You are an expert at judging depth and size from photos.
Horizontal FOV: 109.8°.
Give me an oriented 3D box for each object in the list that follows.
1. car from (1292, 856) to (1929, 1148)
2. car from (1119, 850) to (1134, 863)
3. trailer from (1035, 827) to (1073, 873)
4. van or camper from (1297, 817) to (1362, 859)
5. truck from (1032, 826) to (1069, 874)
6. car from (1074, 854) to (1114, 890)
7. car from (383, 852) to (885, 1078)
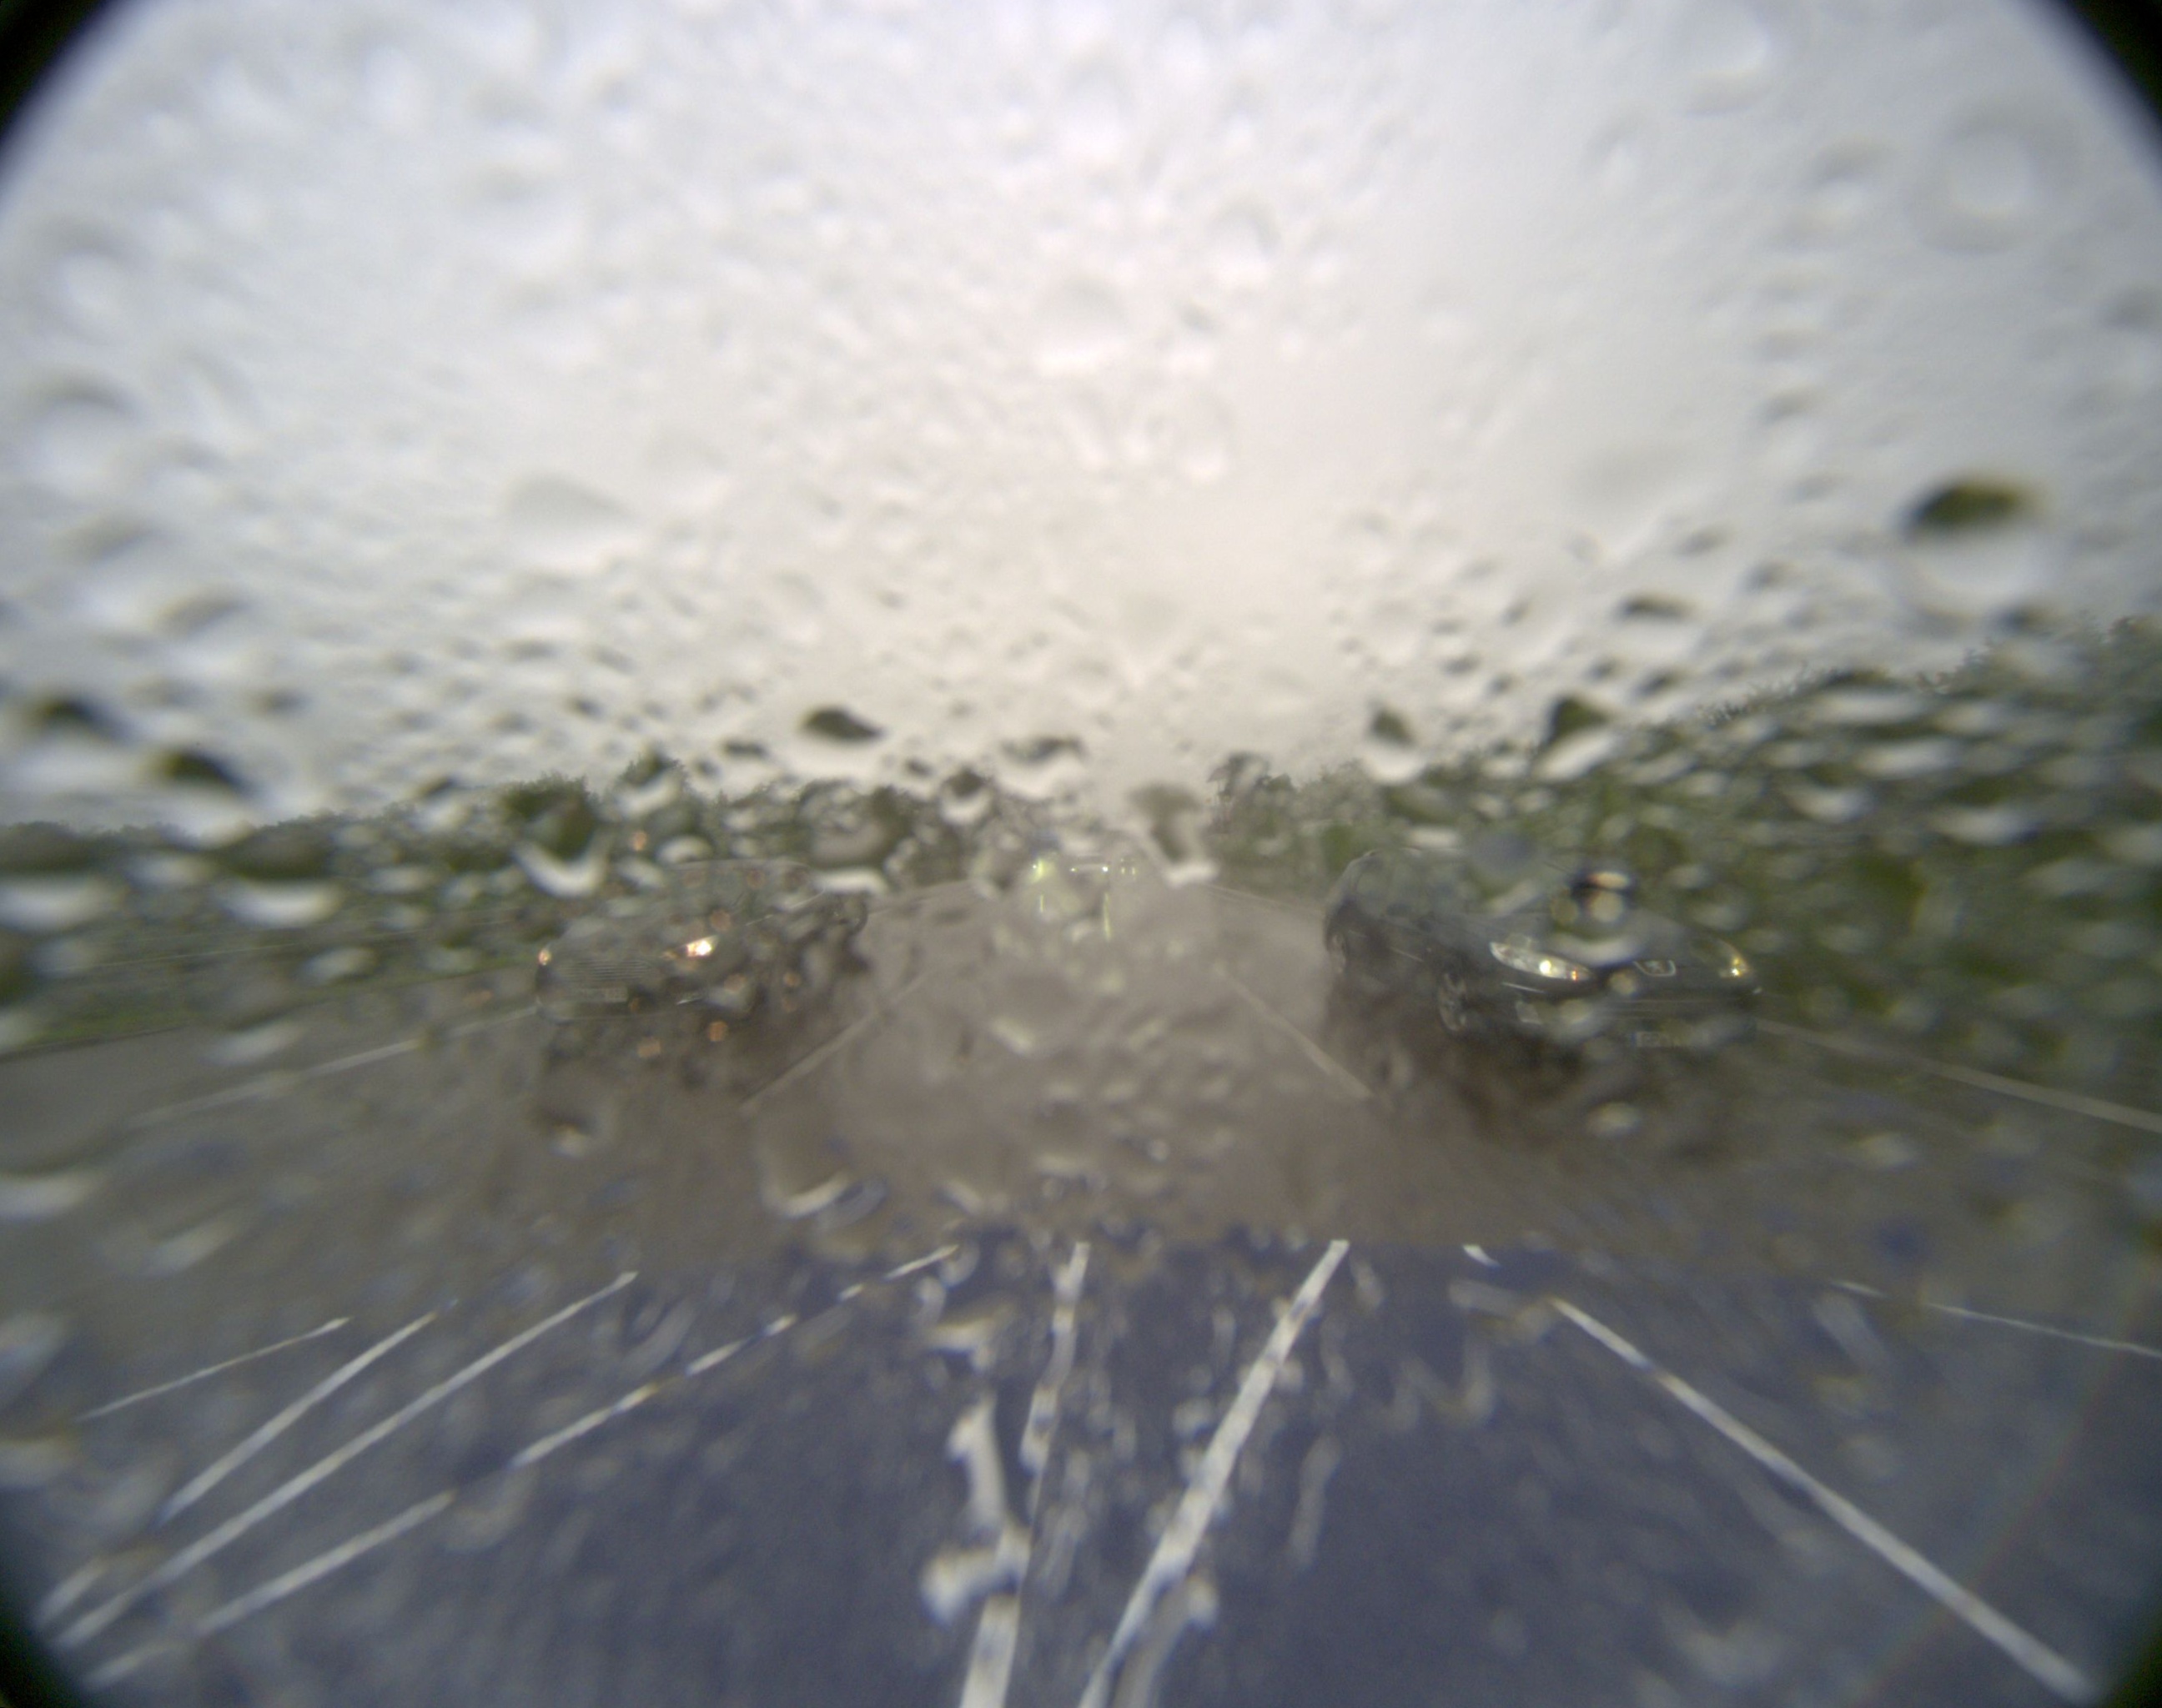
[{"bbox_3d":[3.588,0.815,6.699,2.059,1.477,5.158,-2,0,1],"label":"car"},{"bbox_3d":[5.888,0.283,99.360,1.899,1.533,4.091,-2,0,3],"label":"car"},{"bbox_3d":[-2.454,-0.391,74.823,2.751,3.941,14.129,-2,0,1],"label":"trailer"},{"bbox_3d":[13.668,-0.838,42.178,1.998,2.143,4.946,-2,0,1],"label":"van or camper"},{"bbox_3d":[-2.623,-0.382,67.988,2.755,4.055,6.483,-2,0,2],"label":"truck"},{"bbox_3d":[0.652,0.823,36.267,1.751,1.545,4.090,-2,1,2],"label":"car"},{"bbox_3d":[-4.337,0.887,8.989,2.464,1.736,5.718,-2,0,0],"label":"car"}]
